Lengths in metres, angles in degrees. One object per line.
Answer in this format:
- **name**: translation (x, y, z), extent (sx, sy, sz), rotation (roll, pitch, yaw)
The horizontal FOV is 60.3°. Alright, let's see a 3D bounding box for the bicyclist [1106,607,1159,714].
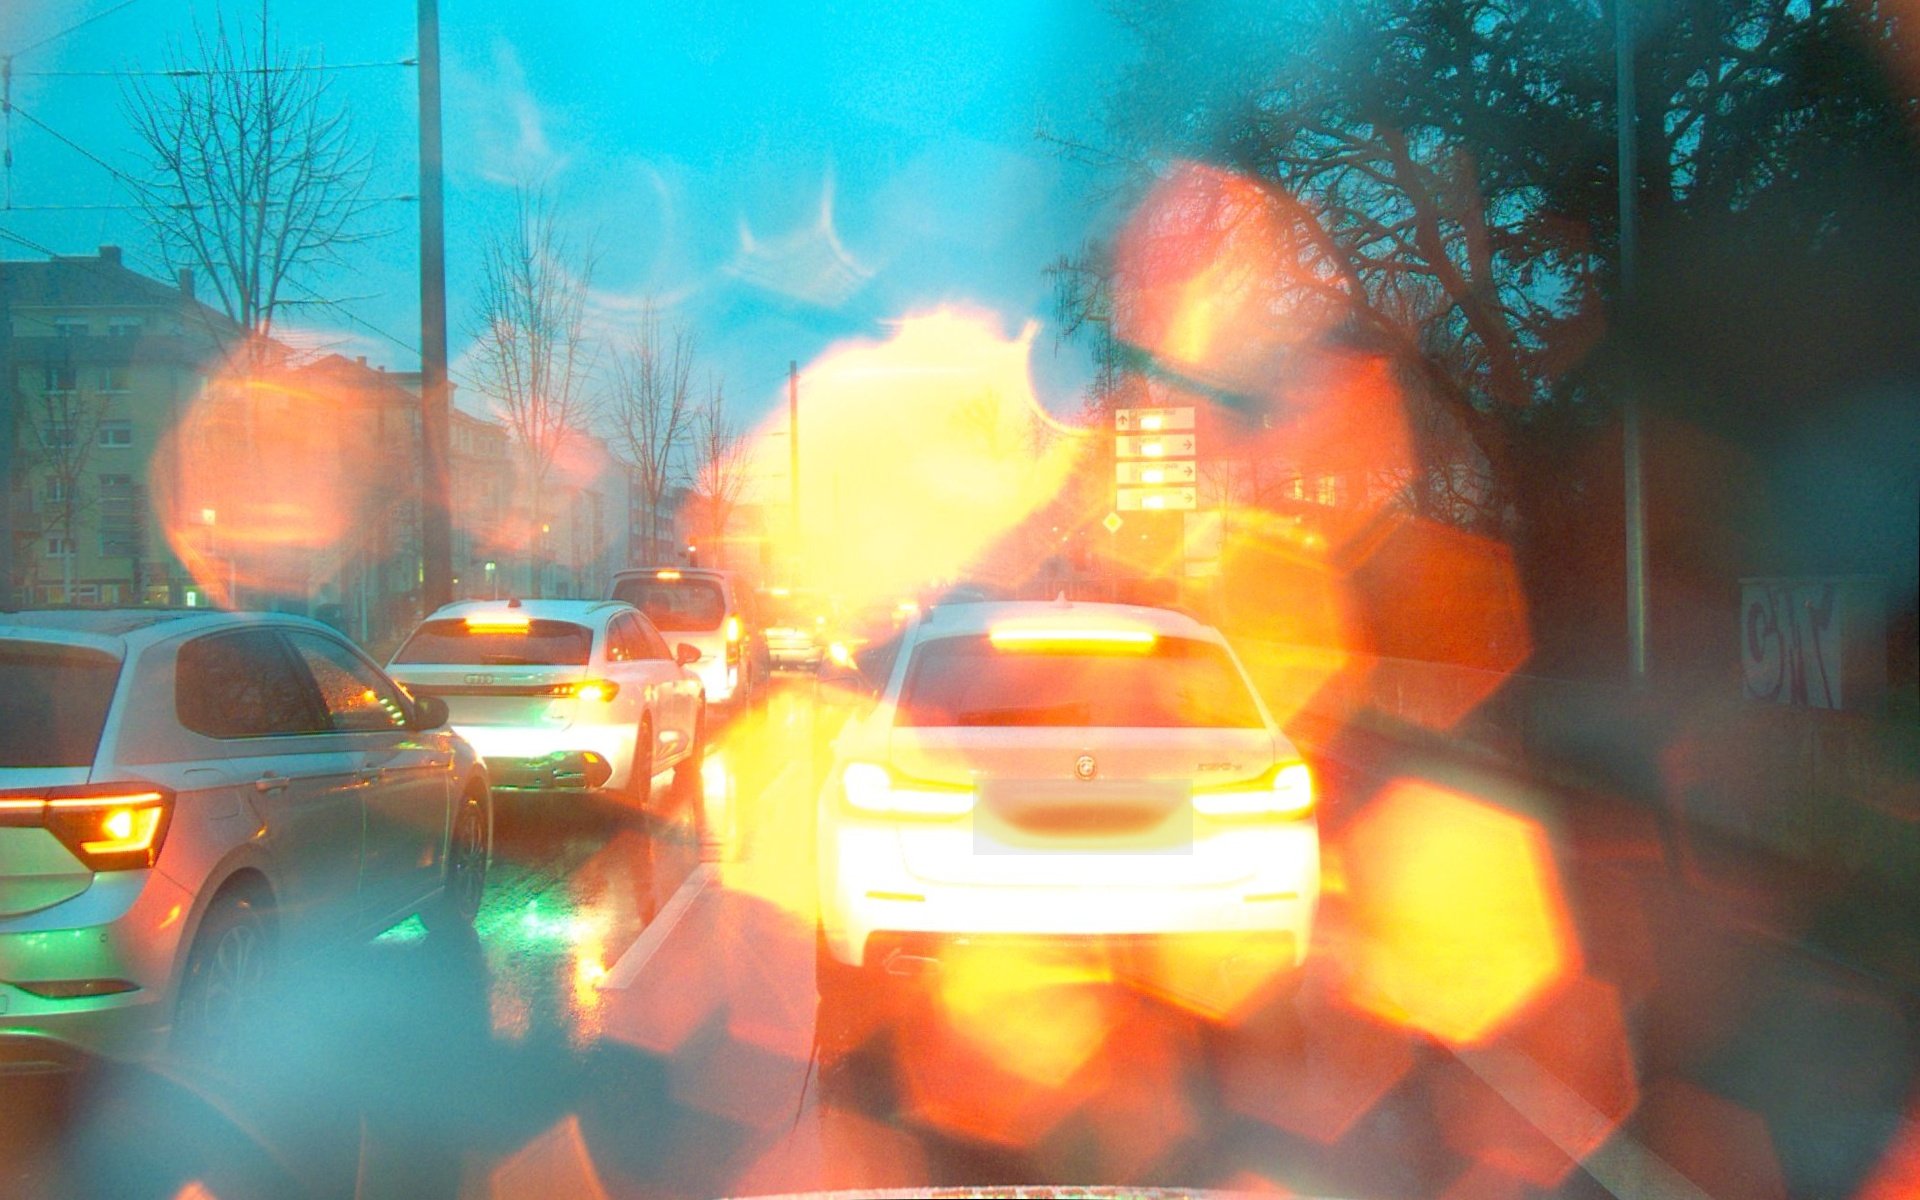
- **bicyclist**: translation (2.352, 0.813, 22.589), extent (0.632, 1.413, 0.890), rotation (-1, 0, 1)

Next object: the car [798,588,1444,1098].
- **car**: translation (0.463, 0.720, 7.088), extent (1.958, 1.534, 4.162), rotation (0, 0, -1)

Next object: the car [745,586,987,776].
- **car**: translation (-0.764, 0.622, 15.041), extent (1.896, 1.483, 4.162), rotation (0, 0, -1)

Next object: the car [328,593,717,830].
- **car**: translation (-2.992, 0.683, 12.359), extent (1.809, 1.430, 4.612), rotation (0, 0, -2)

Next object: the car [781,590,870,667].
- **car**: translation (-3.042, 0.603, 38.056), extent (1.770, 1.674, 3.999), rotation (0, 0, -1)

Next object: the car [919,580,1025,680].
- **car**: translation (0.175, 0.495, 29.770), extent (1.770, 1.674, 3.999), rotation (0, 0, -1)

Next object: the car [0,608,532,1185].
- **car**: translation (-2.893, 0.742, 6.046), extent (1.727, 1.395, 3.980), rotation (0, 0, -2)

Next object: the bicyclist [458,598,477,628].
- **bicyclist**: translation (-26.612, 0.696, 89.431), extent (0.784, 1.607, 0.628), rotation (1, 0, -42)

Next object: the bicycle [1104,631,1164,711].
- **bicycle**: translation (2.355, 0.940, 22.570), extent (0.632, 0.983, 2.047), rotation (-1, 0, 1)

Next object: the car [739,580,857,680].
- **car**: translation (-2.839, 0.486, 29.780), extent (1.770, 1.674, 3.999), rotation (0, 0, -1)

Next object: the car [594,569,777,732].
- **car**: translation (-3.248, 0.553, 20.312), extent (1.758, 1.766, 4.534), rotation (0, 0, -4)
